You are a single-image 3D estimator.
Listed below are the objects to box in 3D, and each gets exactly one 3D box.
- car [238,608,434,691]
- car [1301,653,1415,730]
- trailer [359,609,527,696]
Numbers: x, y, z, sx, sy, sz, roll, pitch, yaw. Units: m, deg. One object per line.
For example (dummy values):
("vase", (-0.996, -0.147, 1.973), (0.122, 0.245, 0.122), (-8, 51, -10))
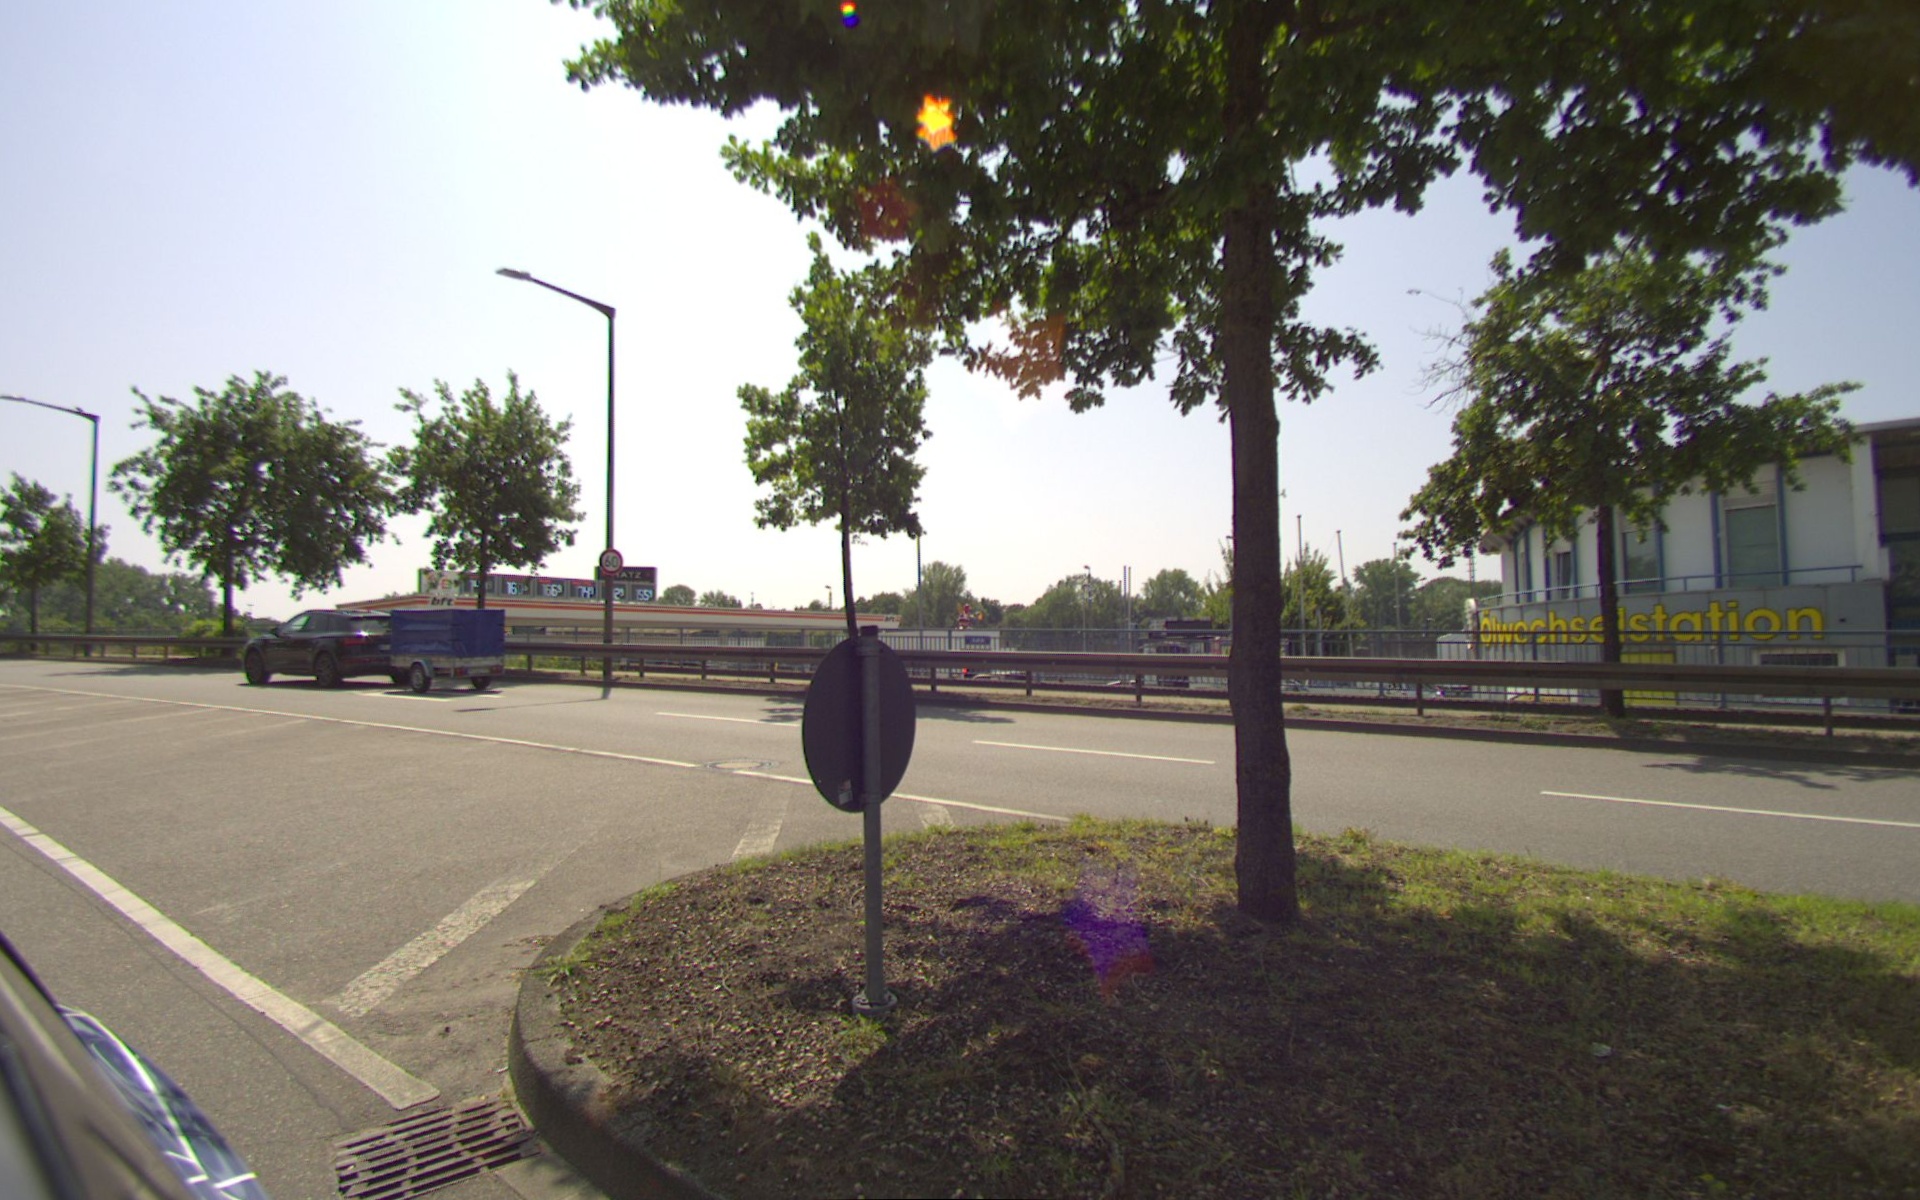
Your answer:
("car", (-13.828, 1.024, 22.371), (4.391, 1.664, 1.901), (0, 0, 31))
("car", (12.091, 2.695, 30.600), (1.999, 2.029, 3.945), (-2, -2, 41))
("trailer", (-10.464, 1.008, 20.458), (3.296, 1.627, 1.494), (0, -1, 31))
